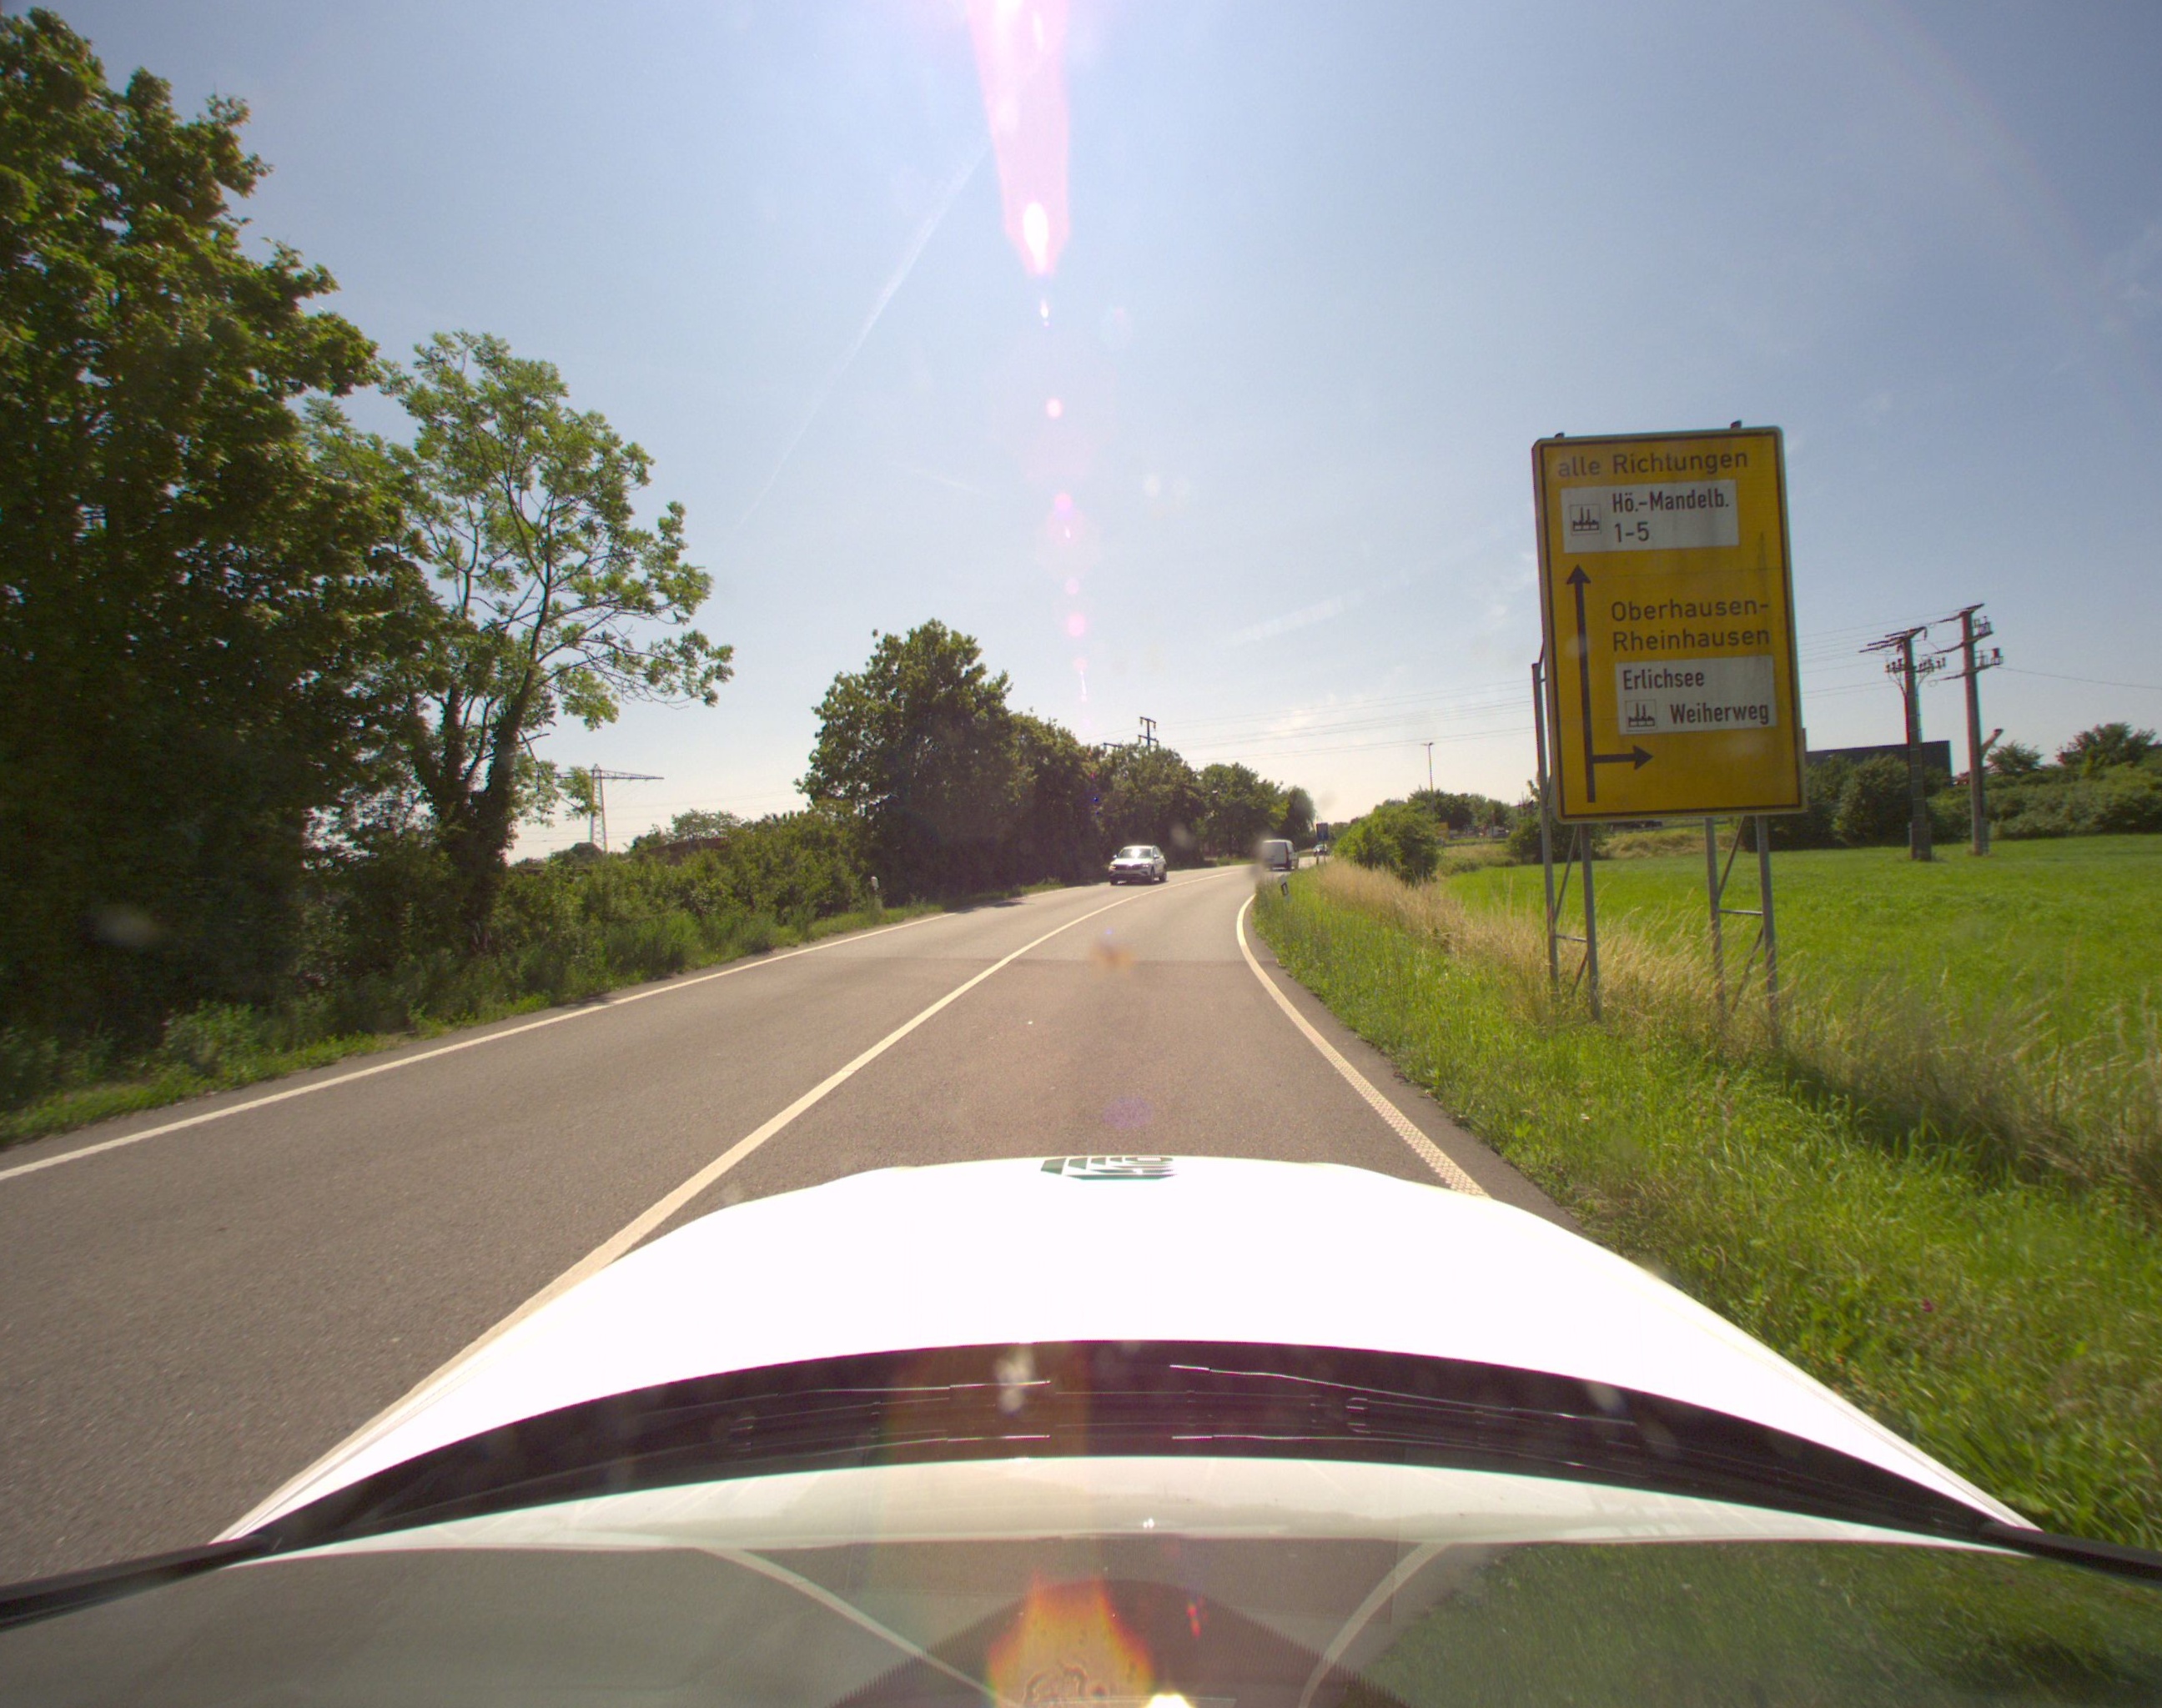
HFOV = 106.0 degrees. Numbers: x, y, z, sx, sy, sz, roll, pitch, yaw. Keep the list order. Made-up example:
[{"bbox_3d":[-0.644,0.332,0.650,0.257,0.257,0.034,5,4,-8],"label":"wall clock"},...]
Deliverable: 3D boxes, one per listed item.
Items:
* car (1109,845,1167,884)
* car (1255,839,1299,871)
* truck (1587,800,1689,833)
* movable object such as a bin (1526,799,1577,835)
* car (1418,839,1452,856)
[{"bbox_3d":[2.575,0.416,35.699,1.842,1.601,4.794,0,0,12],"label":"car"},{"bbox_3d":[11.550,0.040,47.797,1.887,1.732,3.842,-3,-1,21],"label":"car"},{"bbox_3d":[61.267,-4.077,89.826,8.722,3.137,3.116,-1,-2,9],"label":"truck"},{"bbox_3d":[74.179,-5.769,128.541,6.529,5.148,3.828,-2,-2,27],"label":"movable object such as a bin"},{"bbox_3d":[45.603,-0.780,104.990,3.952,2.014,2.011,-2,-2,22],"label":"car"}]
